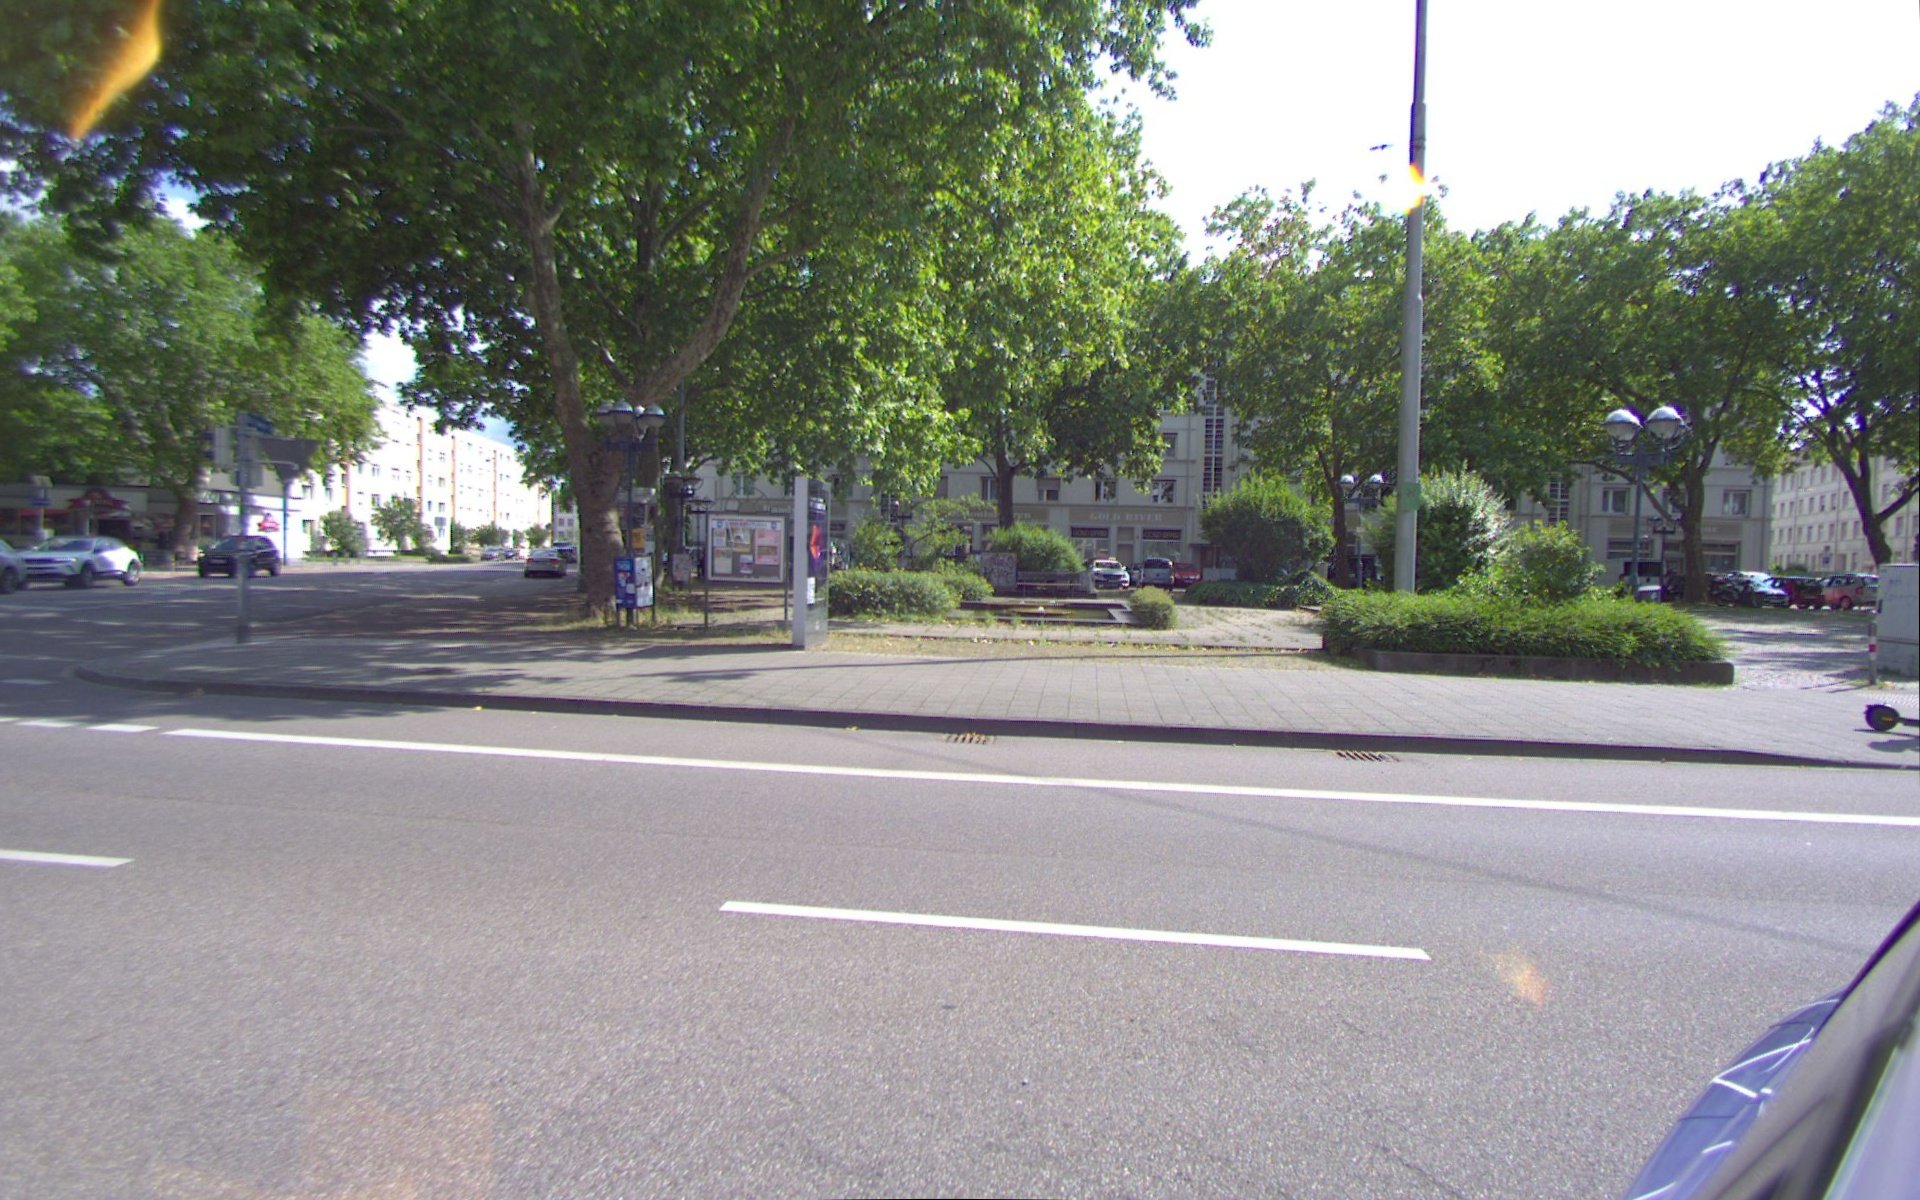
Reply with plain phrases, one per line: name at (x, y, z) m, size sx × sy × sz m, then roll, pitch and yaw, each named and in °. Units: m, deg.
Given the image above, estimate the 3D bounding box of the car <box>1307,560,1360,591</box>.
car at (22.186, -1.515, 60.254) m, size 1.818 × 1.679 × 4.082 m, roll 2°, pitch 3°, yaw 4°

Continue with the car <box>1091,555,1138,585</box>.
car at (7.756, -1.550, 51.080) m, size 1.834 × 1.370 × 3.944 m, roll 1°, pitch 3°, yaw 1°

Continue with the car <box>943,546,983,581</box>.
car at (0.171, -1.921, 52.190) m, size 1.818 × 1.679 × 4.082 m, roll 2°, pitch 3°, yaw 3°

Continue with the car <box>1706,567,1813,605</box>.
car at (36.876, -0.682, 46.815) m, size 1.818 × 1.551 × 4.082 m, roll 2°, pitch 3°, yaw 4°

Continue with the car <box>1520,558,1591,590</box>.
car at (34.525, -1.537, 58.782) m, size 1.818 × 1.679 × 4.082 m, roll 2°, pitch 3°, yaw 4°

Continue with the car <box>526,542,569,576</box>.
car at (-20.674, -2.076, 50.851) m, size 1.655 × 1.519 × 4.011 m, roll 0°, pitch 4°, yaw -17°

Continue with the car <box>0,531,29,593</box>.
car at (-23.925, -0.867, 23.270) m, size 1.822 × 1.508 × 4.009 m, roll 1°, pitch 3°, yaw -10°

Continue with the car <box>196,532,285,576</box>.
car at (-28.800, -1.874, 40.647) m, size 1.655 × 1.639 × 4.011 m, roll 0°, pitch 3°, yaw -16°

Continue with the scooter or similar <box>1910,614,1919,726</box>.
scooter or similar at (9.807, 0.653, 9.638) m, size 0.533 × 1.240 × 0.879 m, roll 0°, pitch 4°, yaw -15°

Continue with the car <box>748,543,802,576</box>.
car at (-9.808, -2.186, 53.893) m, size 1.819 × 1.679 × 4.080 m, roll 2°, pitch 3°, yaw 5°

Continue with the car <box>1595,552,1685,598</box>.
car at (31.985, -1.154, 47.737) m, size 2.222 × 2.039 × 3.917 m, roll 2°, pitch 0°, yaw 14°

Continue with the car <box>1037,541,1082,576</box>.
car at (5.059, -2.144, 51.801) m, size 1.963 × 1.704 × 4.001 m, roll 1°, pitch 3°, yaw 1°

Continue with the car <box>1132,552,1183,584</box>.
car at (9.979, -1.661, 51.427) m, size 1.834 × 1.537 × 3.944 m, roll 1°, pitch 3°, yaw 1°

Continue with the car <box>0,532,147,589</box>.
car at (-25.795, -1.178, 29.456) m, size 1.822 × 1.508 × 4.086 m, roll 0°, pitch 3°, yaw -15°

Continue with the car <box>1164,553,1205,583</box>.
car at (13.617, -1.977, 61.580) m, size 1.819 × 1.679 × 4.080 m, roll 2°, pitch 3°, yaw 5°
